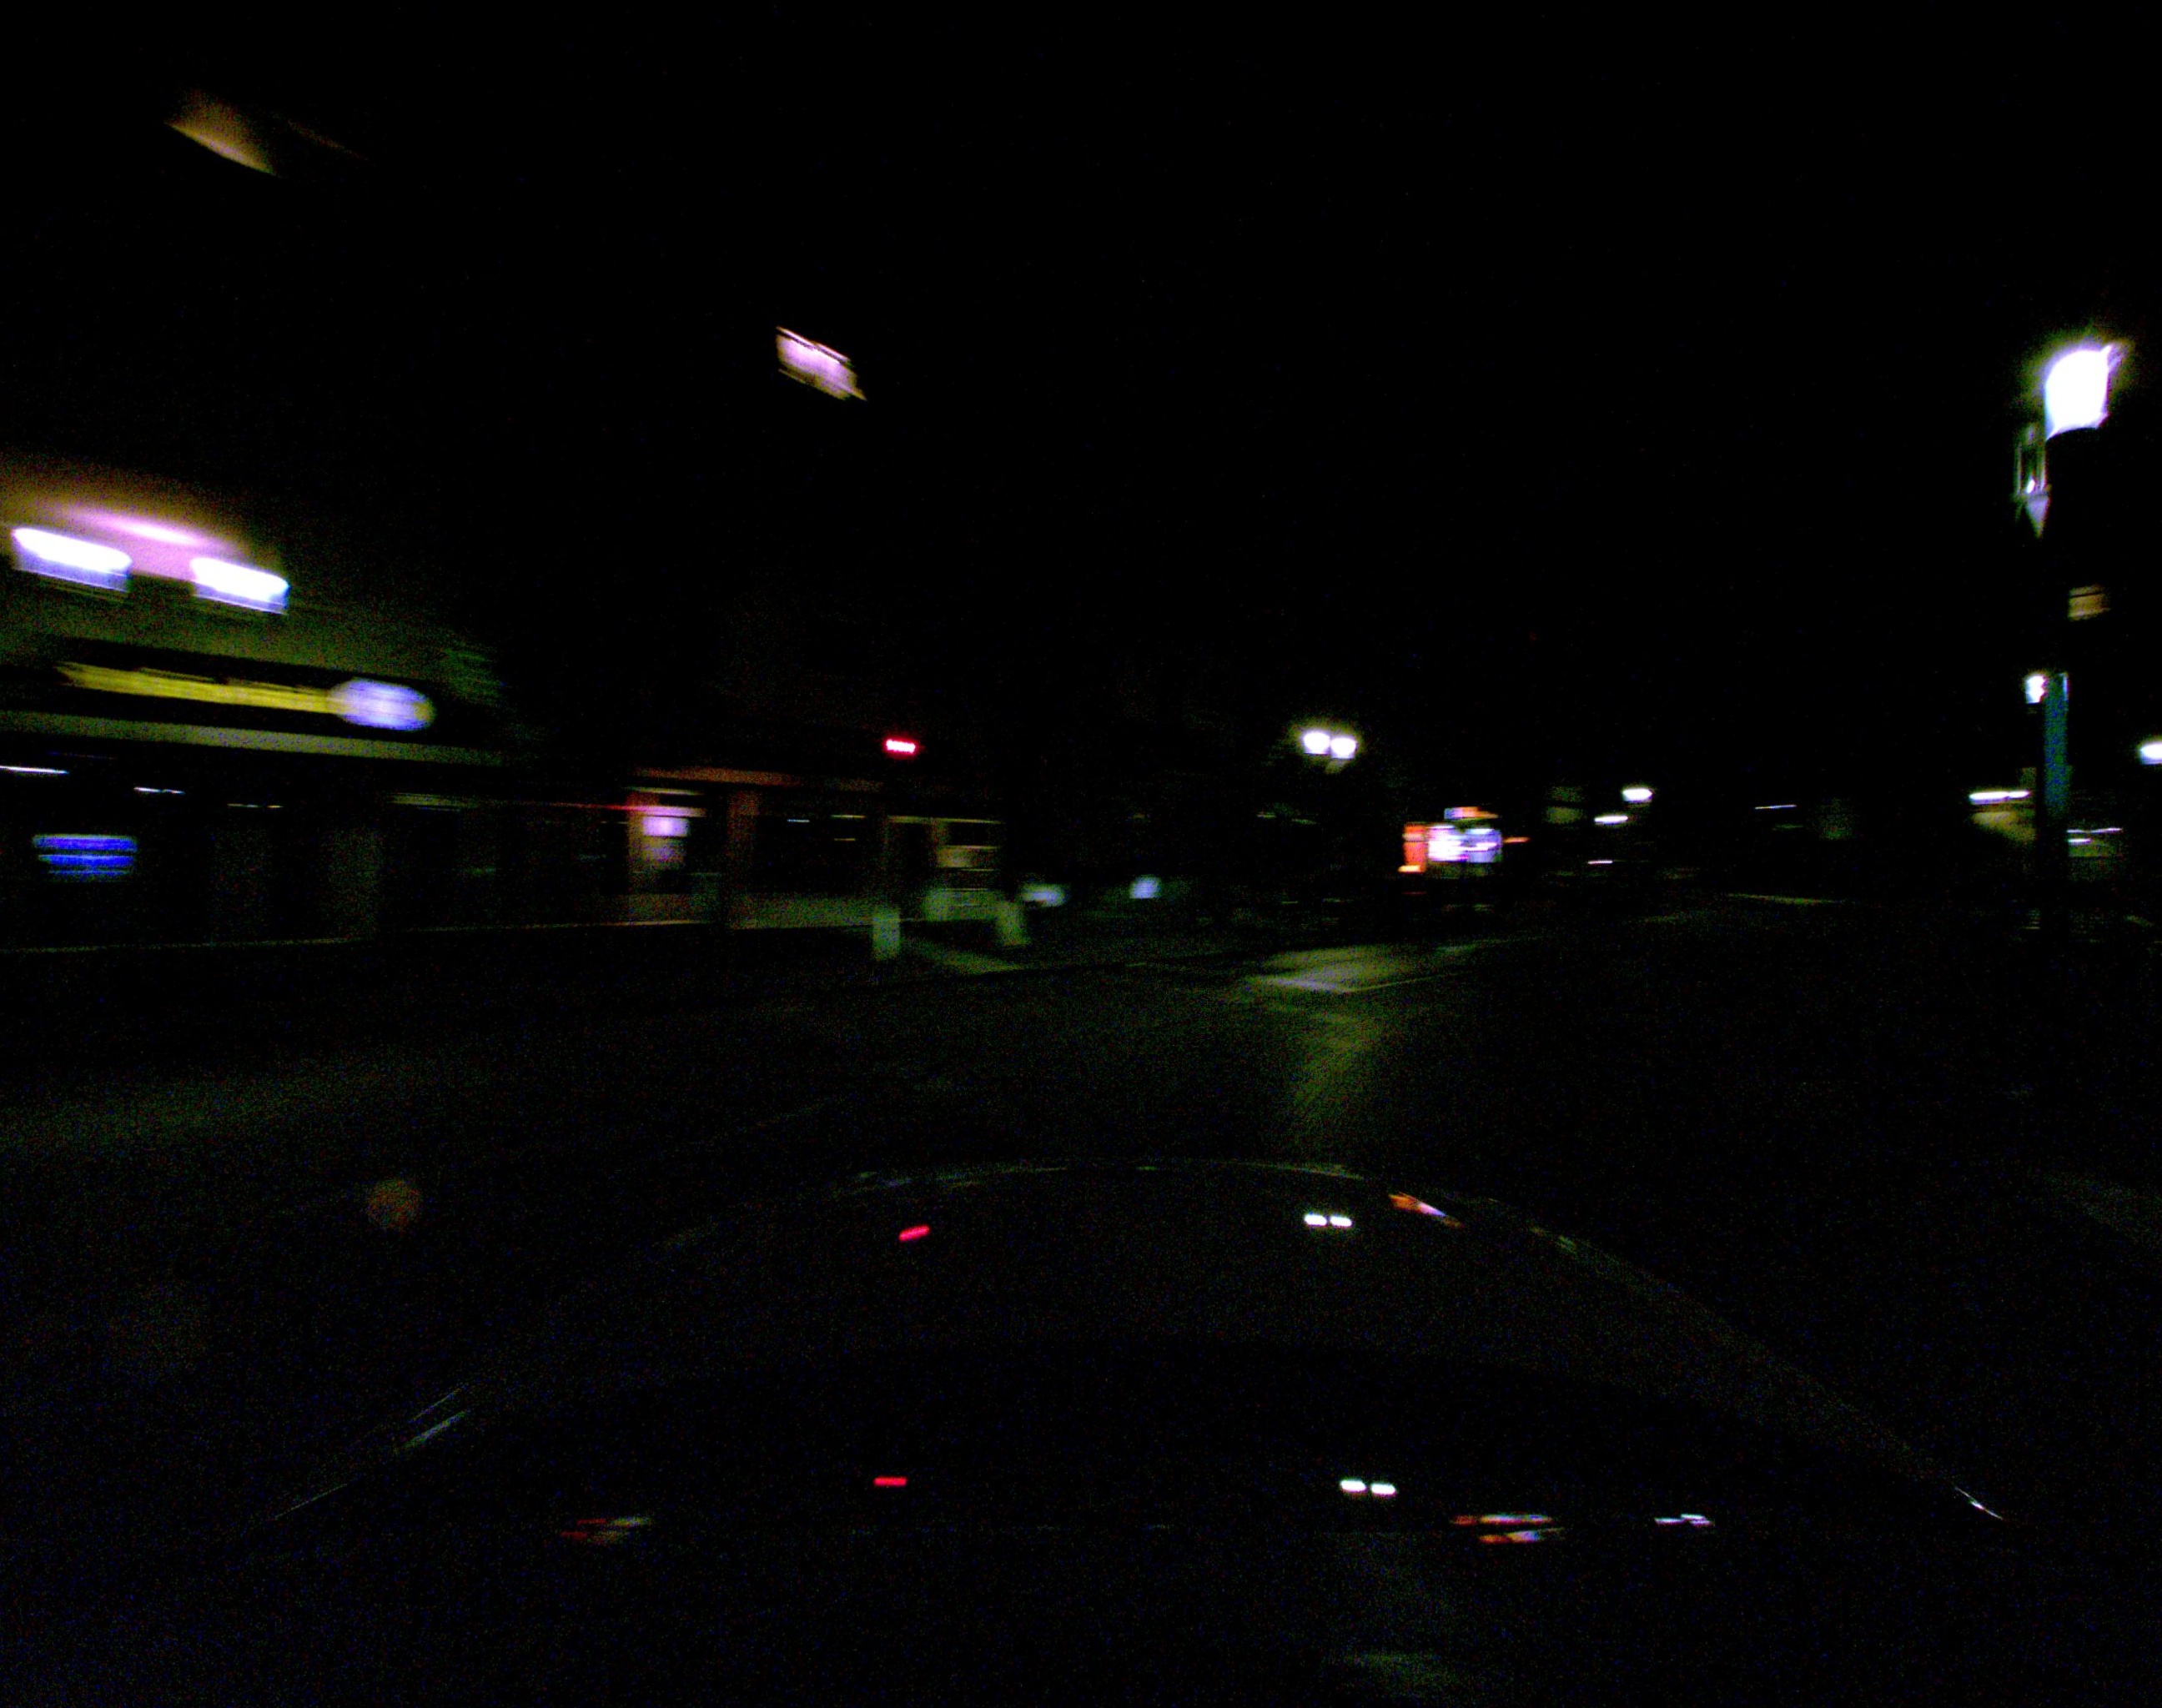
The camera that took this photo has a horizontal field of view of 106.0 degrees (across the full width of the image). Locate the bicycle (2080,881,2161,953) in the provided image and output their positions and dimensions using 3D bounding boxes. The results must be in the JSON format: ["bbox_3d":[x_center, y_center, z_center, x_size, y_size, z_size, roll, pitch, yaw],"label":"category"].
[{"bbox_3d":[18.307,1.073,13.775,0.617,1.151,1.757,1,0,-40],"label":"bicycle"}]

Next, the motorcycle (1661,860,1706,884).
[{"bbox_3d":[36.646,1.074,49.554,2.047,1.406,0.924,-1,0,-2],"label":"motorcycle"}]

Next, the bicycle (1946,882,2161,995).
[{"bbox_3d":[11.350,0.934,9.524,0.646,1.134,1.641,1,0,-39],"label":"bicycle"}]

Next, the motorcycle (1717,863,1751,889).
[{"bbox_3d":[35.558,1.178,44.325,1.949,1.353,0.756,0,0,-28],"label":"motorcycle"}]

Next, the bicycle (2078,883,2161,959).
[{"bbox_3d":[17.167,1.068,12.848,0.584,1.151,1.759,1,0,-34],"label":"bicycle"}]

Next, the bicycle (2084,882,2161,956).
[{"bbox_3d":[17.745,1.073,13.253,0.585,1.151,1.757,1,0,-40],"label":"bicycle"}]

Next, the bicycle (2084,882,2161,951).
[{"bbox_3d":[18.972,1.107,14.238,0.764,1.151,1.767,1,0,-40],"label":"bicycle"}]

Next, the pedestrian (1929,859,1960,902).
[{"bbox_3d":[34.959,1.068,32.983,0.504,1.709,0.706,1,0,8],"label":"pedestrian"}]

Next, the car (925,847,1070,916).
[{"bbox_3d":[-2.199,0.619,20.565,1.828,1.526,3.955,1,0,-38],"label":"car"}]

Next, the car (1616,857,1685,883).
[{"bbox_3d":[36.567,0.996,52.411,1.723,1.501,4.475,1,0,6],"label":"car"}]

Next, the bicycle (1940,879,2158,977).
[{"bbox_3d":[12.993,0.949,11.019,0.729,1.134,1.849,1,0,-41],"label":"bicycle"}]

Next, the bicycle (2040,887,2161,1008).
[{"bbox_3d":[10.978,0.947,8.159,0.690,1.141,1.754,1,0,-39],"label":"bicycle"}]

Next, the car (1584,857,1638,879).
[{"bbox_3d":[37.301,0.959,57.445,1.726,1.454,4.011,1,0,9],"label":"car"}]

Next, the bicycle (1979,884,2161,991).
[{"bbox_3d":[12.111,0.969,9.773,0.632,1.134,1.773,1,0,-41],"label":"bicycle"}]

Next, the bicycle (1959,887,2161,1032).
[{"bbox_3d":[9.108,0.906,7.290,0.832,1.141,1.641,1,0,-39],"label":"bicycle"}]

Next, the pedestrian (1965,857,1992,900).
[{"bbox_3d":[36.437,0.985,33.055,0.474,1.709,0.572,1,0,8],"label":"pedestrian"}]

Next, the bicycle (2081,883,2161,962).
[{"bbox_3d":[16.674,1.058,12.419,0.584,1.151,1.759,1,0,-34],"label":"bicycle"}]

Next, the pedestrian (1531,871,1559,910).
[{"bbox_3d":[14.467,1.134,25.366,0.682,1.164,0.569,1,0,-43],"label":"pedestrian"}]

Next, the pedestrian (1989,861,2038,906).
[{"bbox_3d":[35.098,1.111,30.659,0.809,1.631,0.960,1,0,-19],"label":"pedestrian"}]

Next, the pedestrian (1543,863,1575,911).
[{"bbox_3d":[14.341,0.980,24.436,0.580,1.378,0.670,1,0,-43],"label":"pedestrian"}]
